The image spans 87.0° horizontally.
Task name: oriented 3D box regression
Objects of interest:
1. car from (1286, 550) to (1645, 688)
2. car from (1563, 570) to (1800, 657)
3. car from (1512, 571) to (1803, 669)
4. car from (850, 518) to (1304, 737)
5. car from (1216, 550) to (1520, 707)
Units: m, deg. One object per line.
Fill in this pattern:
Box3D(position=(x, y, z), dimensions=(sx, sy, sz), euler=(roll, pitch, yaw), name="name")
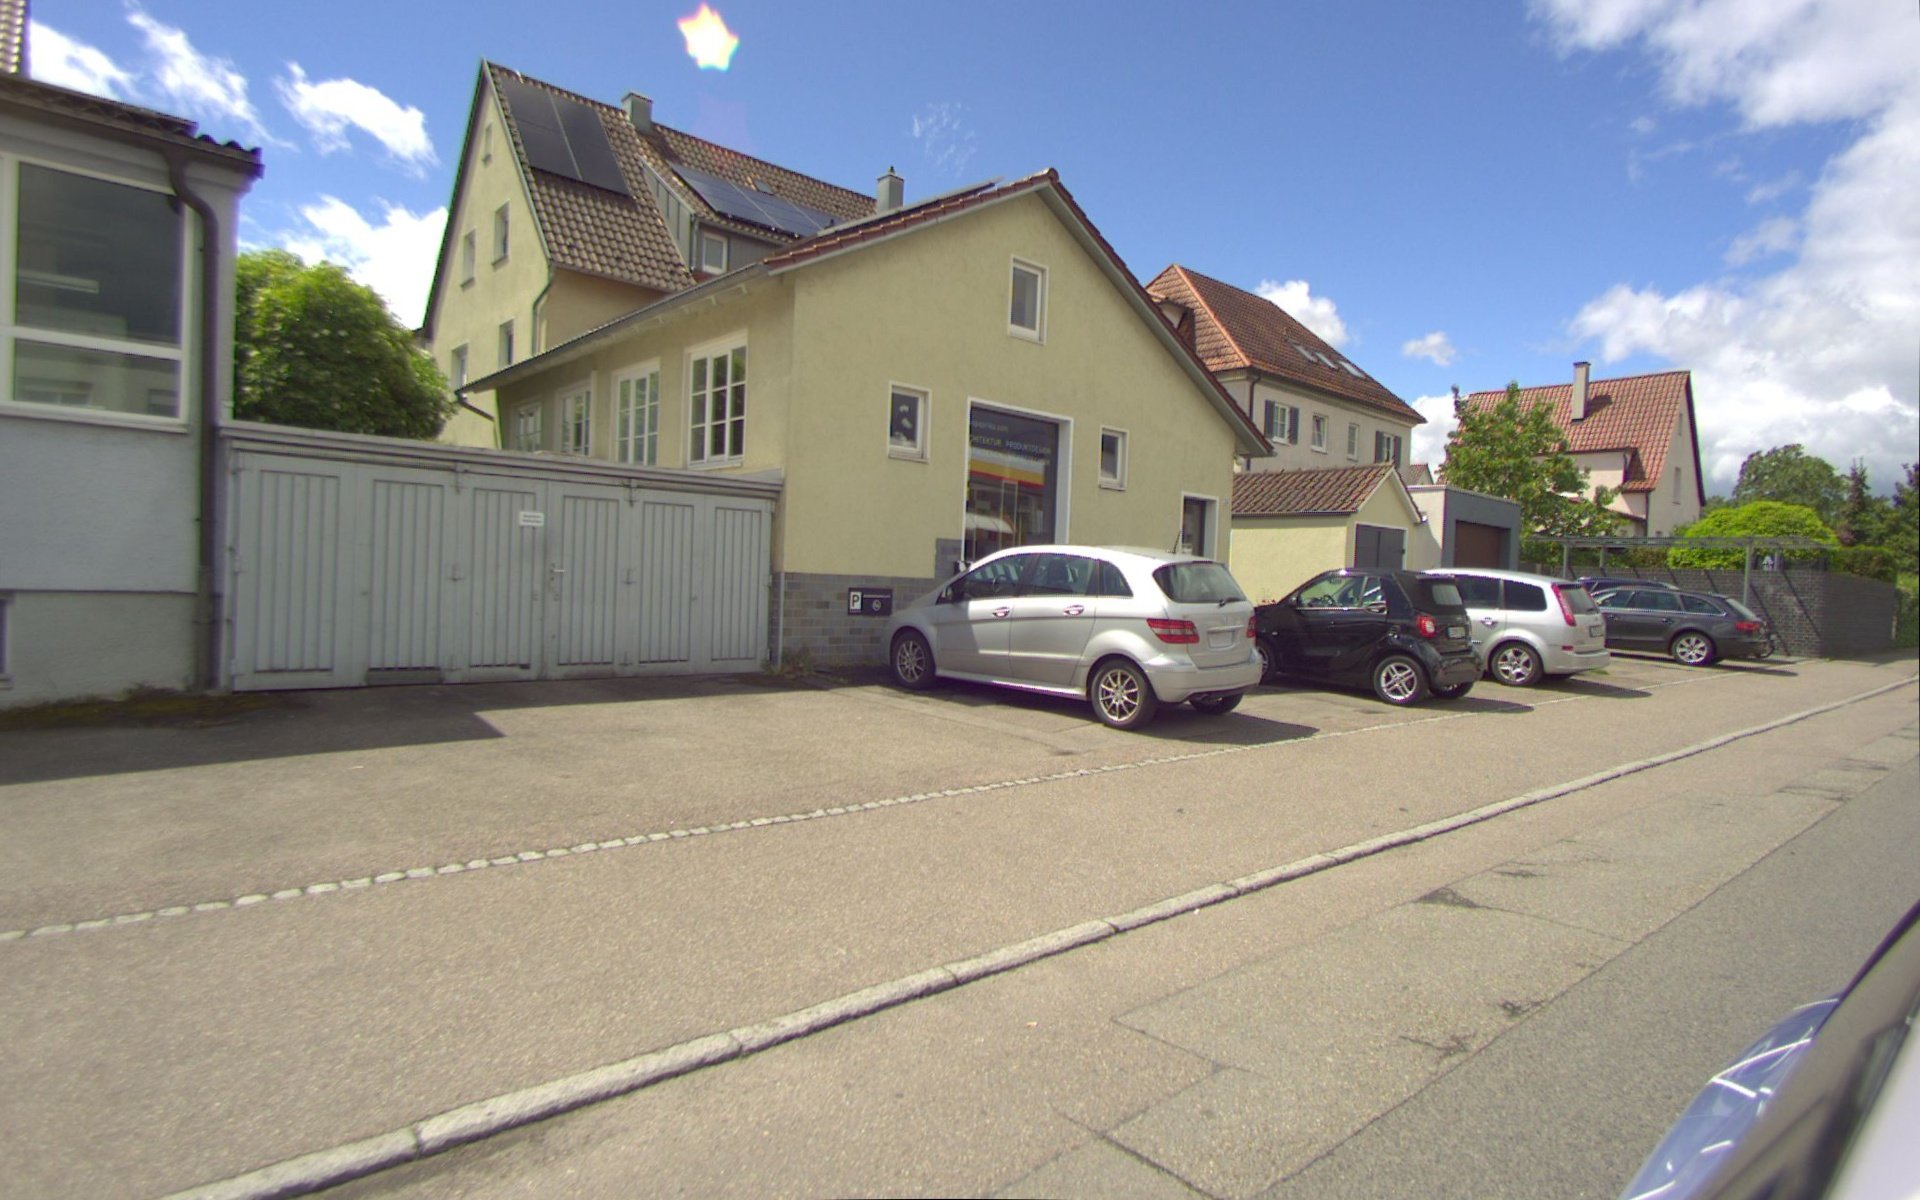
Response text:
Box3D(position=(7.516, 0.173, 15.399), dimensions=(1.941, 1.543, 4.416), euler=(0, 5, -42), name="car")
Box3D(position=(16.132, 0.231, 22.772), dimensions=(1.823, 1.634, 4.010), euler=(0, 3, -42), name="car")
Box3D(position=(13.823, 0.306, 20.268), dimensions=(1.941, 1.423, 4.416), euler=(0, 5, -42), name="car")
Box3D(position=(0.987, 0.097, 10.481), dimensions=(1.941, 1.627, 4.416), euler=(0, 5, -42), name="car")
Box3D(position=(5.025, 0.256, 12.634), dimensions=(1.941, 1.543, 2.894), euler=(0, 5, -42), name="car")
